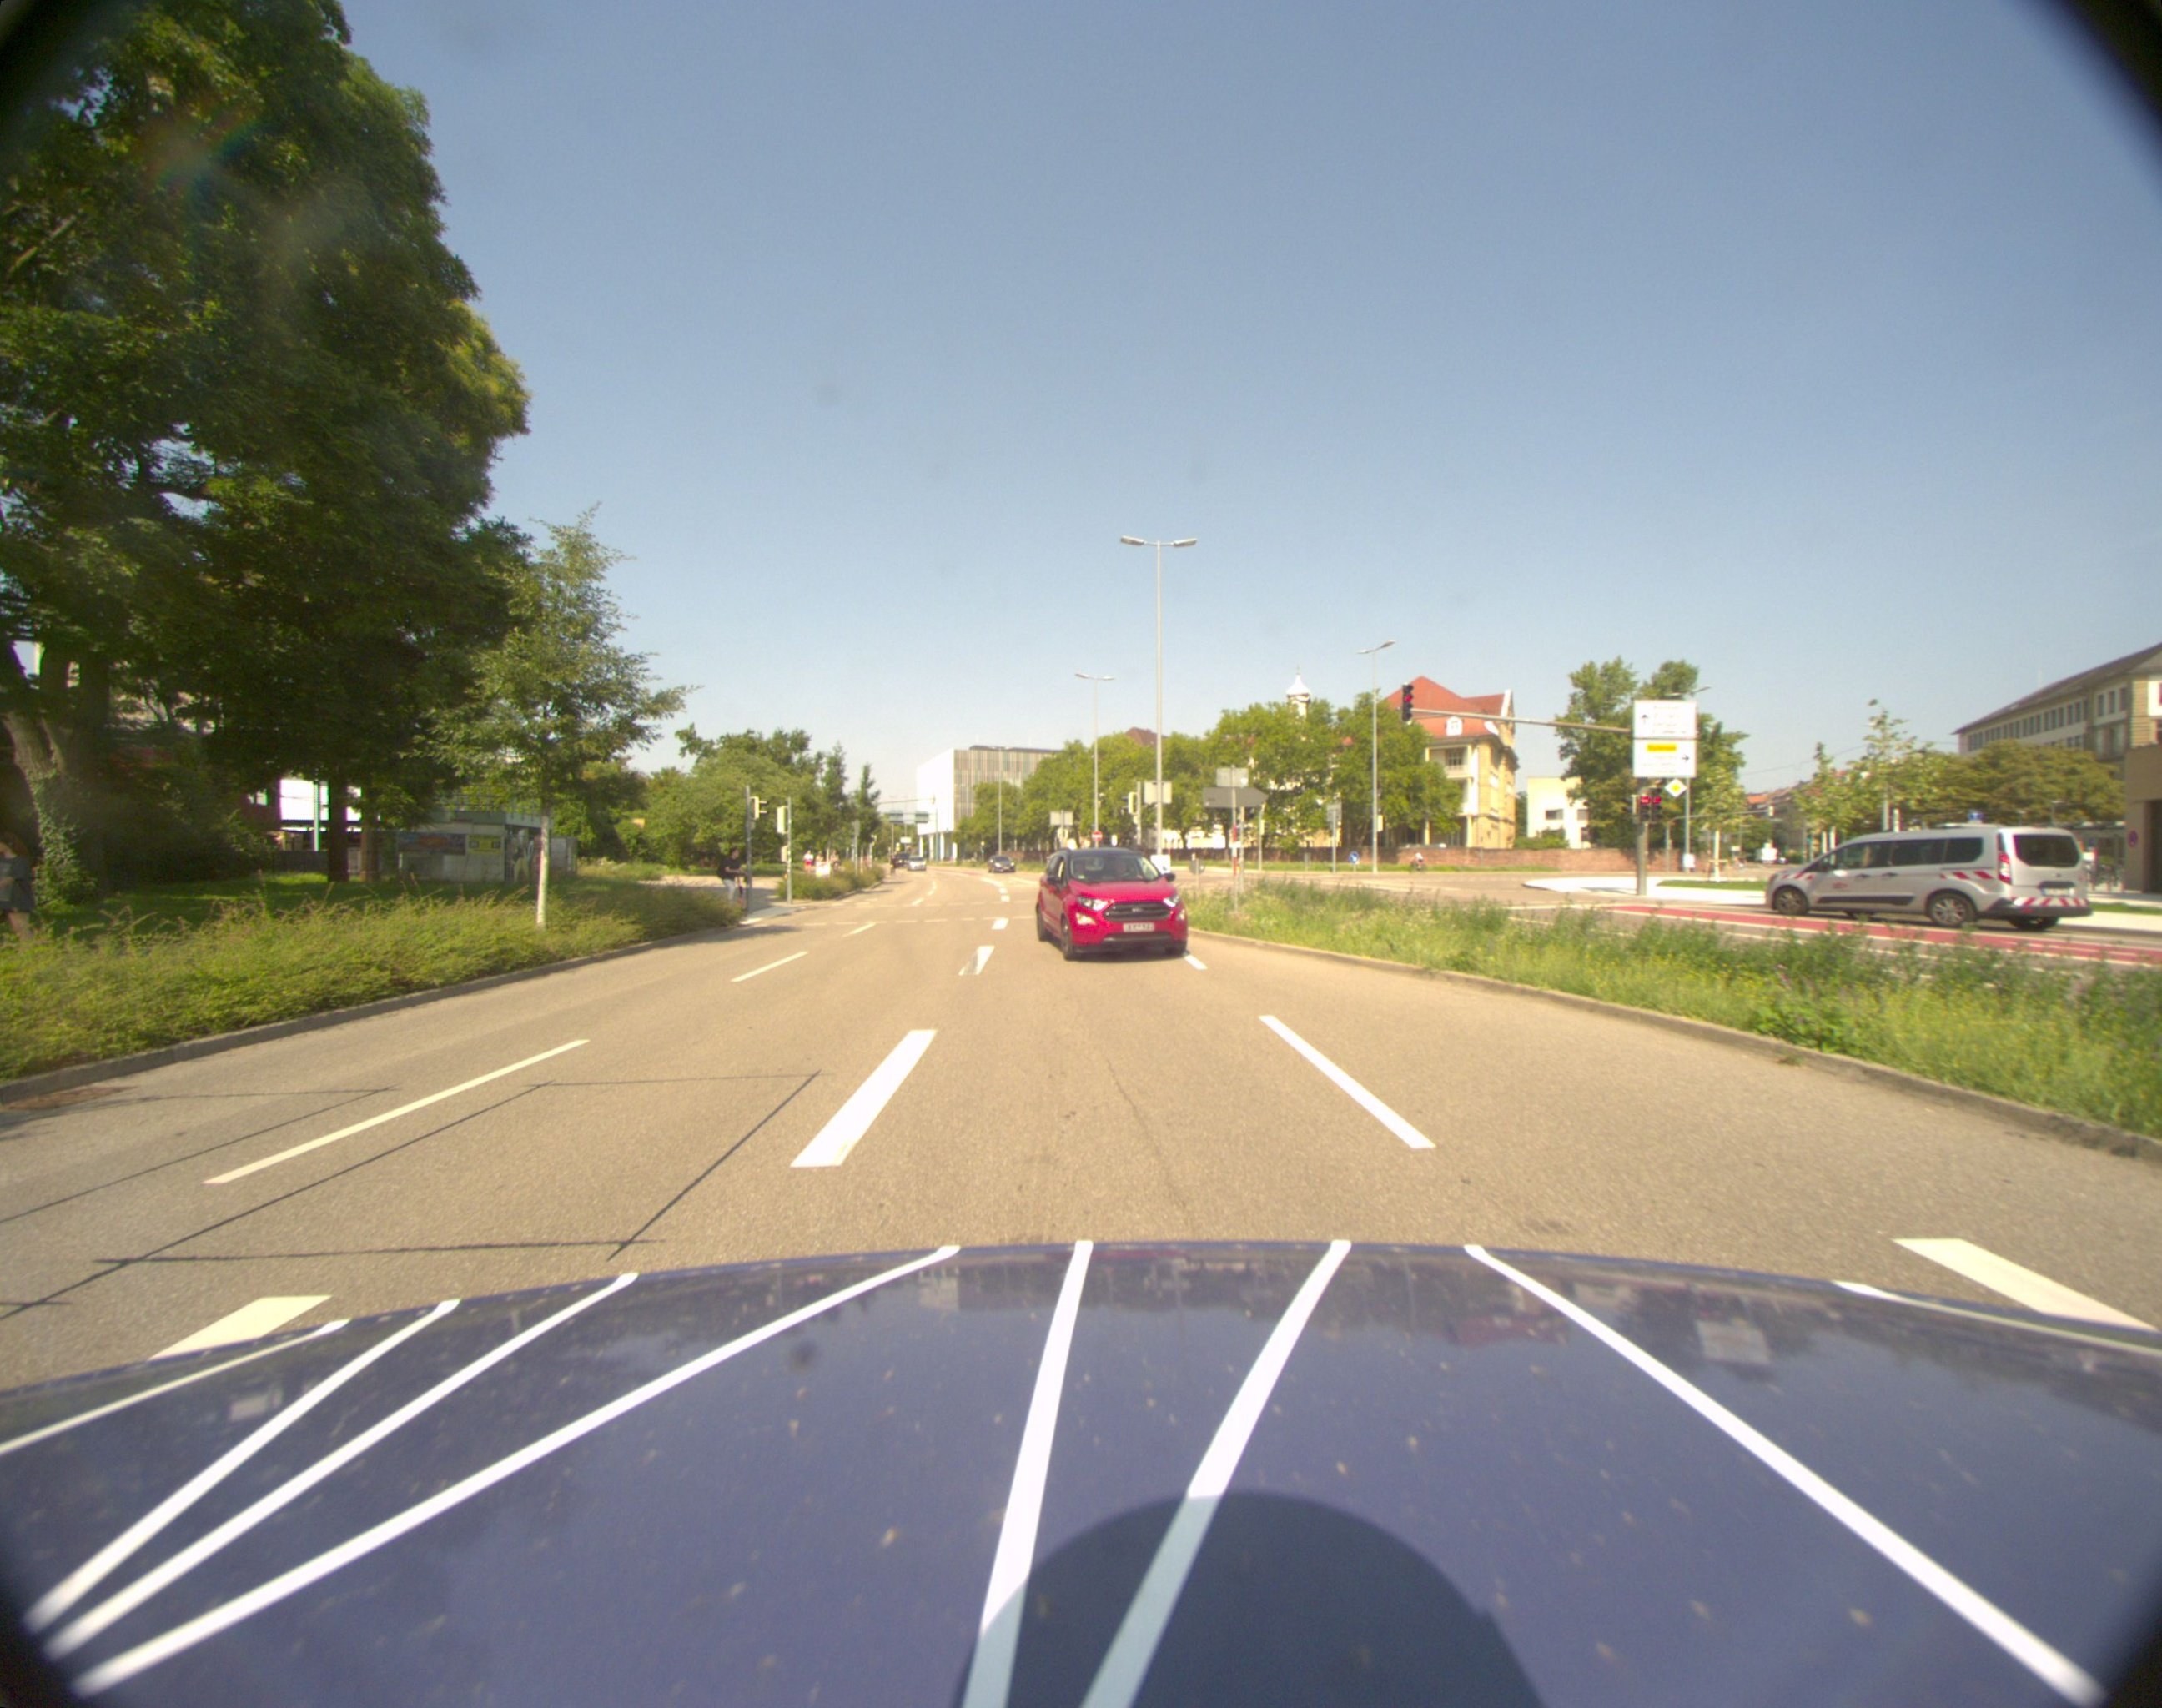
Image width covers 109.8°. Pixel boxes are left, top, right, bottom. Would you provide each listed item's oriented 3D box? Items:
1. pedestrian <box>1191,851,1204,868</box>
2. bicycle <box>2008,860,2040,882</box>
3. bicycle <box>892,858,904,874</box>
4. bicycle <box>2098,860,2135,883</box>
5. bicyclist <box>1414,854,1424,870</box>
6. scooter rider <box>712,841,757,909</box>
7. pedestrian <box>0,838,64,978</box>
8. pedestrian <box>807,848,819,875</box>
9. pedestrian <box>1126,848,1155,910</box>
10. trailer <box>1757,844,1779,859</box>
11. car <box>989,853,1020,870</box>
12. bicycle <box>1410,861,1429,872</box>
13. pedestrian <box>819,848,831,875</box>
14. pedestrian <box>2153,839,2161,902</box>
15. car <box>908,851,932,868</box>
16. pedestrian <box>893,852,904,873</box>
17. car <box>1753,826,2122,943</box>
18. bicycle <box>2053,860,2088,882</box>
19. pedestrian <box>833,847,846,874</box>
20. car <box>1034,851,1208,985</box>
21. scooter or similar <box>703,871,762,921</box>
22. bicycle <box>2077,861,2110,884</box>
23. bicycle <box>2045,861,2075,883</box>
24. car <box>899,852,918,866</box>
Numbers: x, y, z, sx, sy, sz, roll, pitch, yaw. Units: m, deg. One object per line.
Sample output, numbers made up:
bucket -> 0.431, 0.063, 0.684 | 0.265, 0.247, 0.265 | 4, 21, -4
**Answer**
pedestrian -> 14.336, 0.676, 93.427 | 1.074, 2.002, 1.231 | 0, 1, -41
bicycle -> 46.793, 0.822, 37.722 | 0.525, 1.034, 1.774 | 1, 1, 36
bicycle -> -14.434, 0.927, 60.013 | 0.787, 1.205, 1.786 | 0, 0, -17
bicycle -> 49.380, 0.812, 36.248 | 0.525, 1.034, 1.774 | 1, 1, 36
bicyclist -> 26.139, 0.603, 58.758 | 0.541, 1.226, 0.432 | 0, 1, -24
scooter rider -> -9.141, 0.540, 20.048 | 0.803, 1.729, 0.690 | 1, 1, 19
pedestrian -> -13.543, 0.650, 9.408 | 0.708, 1.695, 0.878 | 2, 1, -5
pedestrian -> -17.212, 0.467, 48.827 | 0.694, 1.761, 0.586 | 0, 1, -17
pedestrian -> 1.664, 0.683, 21.134 | 0.699, 1.685, 0.608 | 1, 1, 13
trailer -> 144.599, -0.529, 159.907 | 2.435, 3.269, 5.099 | 1, 1, 31
car -> -6.333, 0.594, 62.455 | 1.793, 1.349, 3.418 | -2, 1, -18
bicycle -> 26.163, 0.979, 58.786 | 1.488, 0.807, 0.436 | 0, -1, -24
pedestrian -> -16.562, 0.495, 49.208 | 0.694, 1.761, 0.586 | 0, 1, -17
pedestrian -> 29.021, 0.444, 20.101 | 0.567, 1.668, 0.537 | 1, 1, 32
car -> -17.064, 0.555, 80.384 | 2.002, 1.669, 3.993 | 0, 0, -18
pedestrian -> -14.409, 0.656, 59.929 | 0.781, 1.659, 0.548 | 0, 1, -17
car -> 16.032, 0.500, 14.668 | 1.999, 1.849, 4.332 | 2, 0, -5
bicycle -> 48.425, 0.805, 37.205 | 0.525, 1.034, 1.774 | 1, 1, 36
pedestrian -> -15.726, 0.403, 49.582 | 0.794, 1.758, 0.825 | 0, 1, -17
car -> 0.400, 0.794, 11.563 | 1.845, 1.605, 3.996 | -1, 1, -9
scooter or similar -> -9.168, 1.084, 20.003 | 1.365, 1.227, 0.586 | 1, 1, 19
bicycle -> 46.909, 0.841, 35.213 | 0.411, 1.034, 1.644 | 1, 1, 36
bicycle -> 46.084, 0.830, 35.778 | 0.411, 1.034, 1.644 | 1, 1, 36
car -> -21.494, 0.589, 94.582 | 2.002, 1.769, 3.993 | 0, 0, -18
